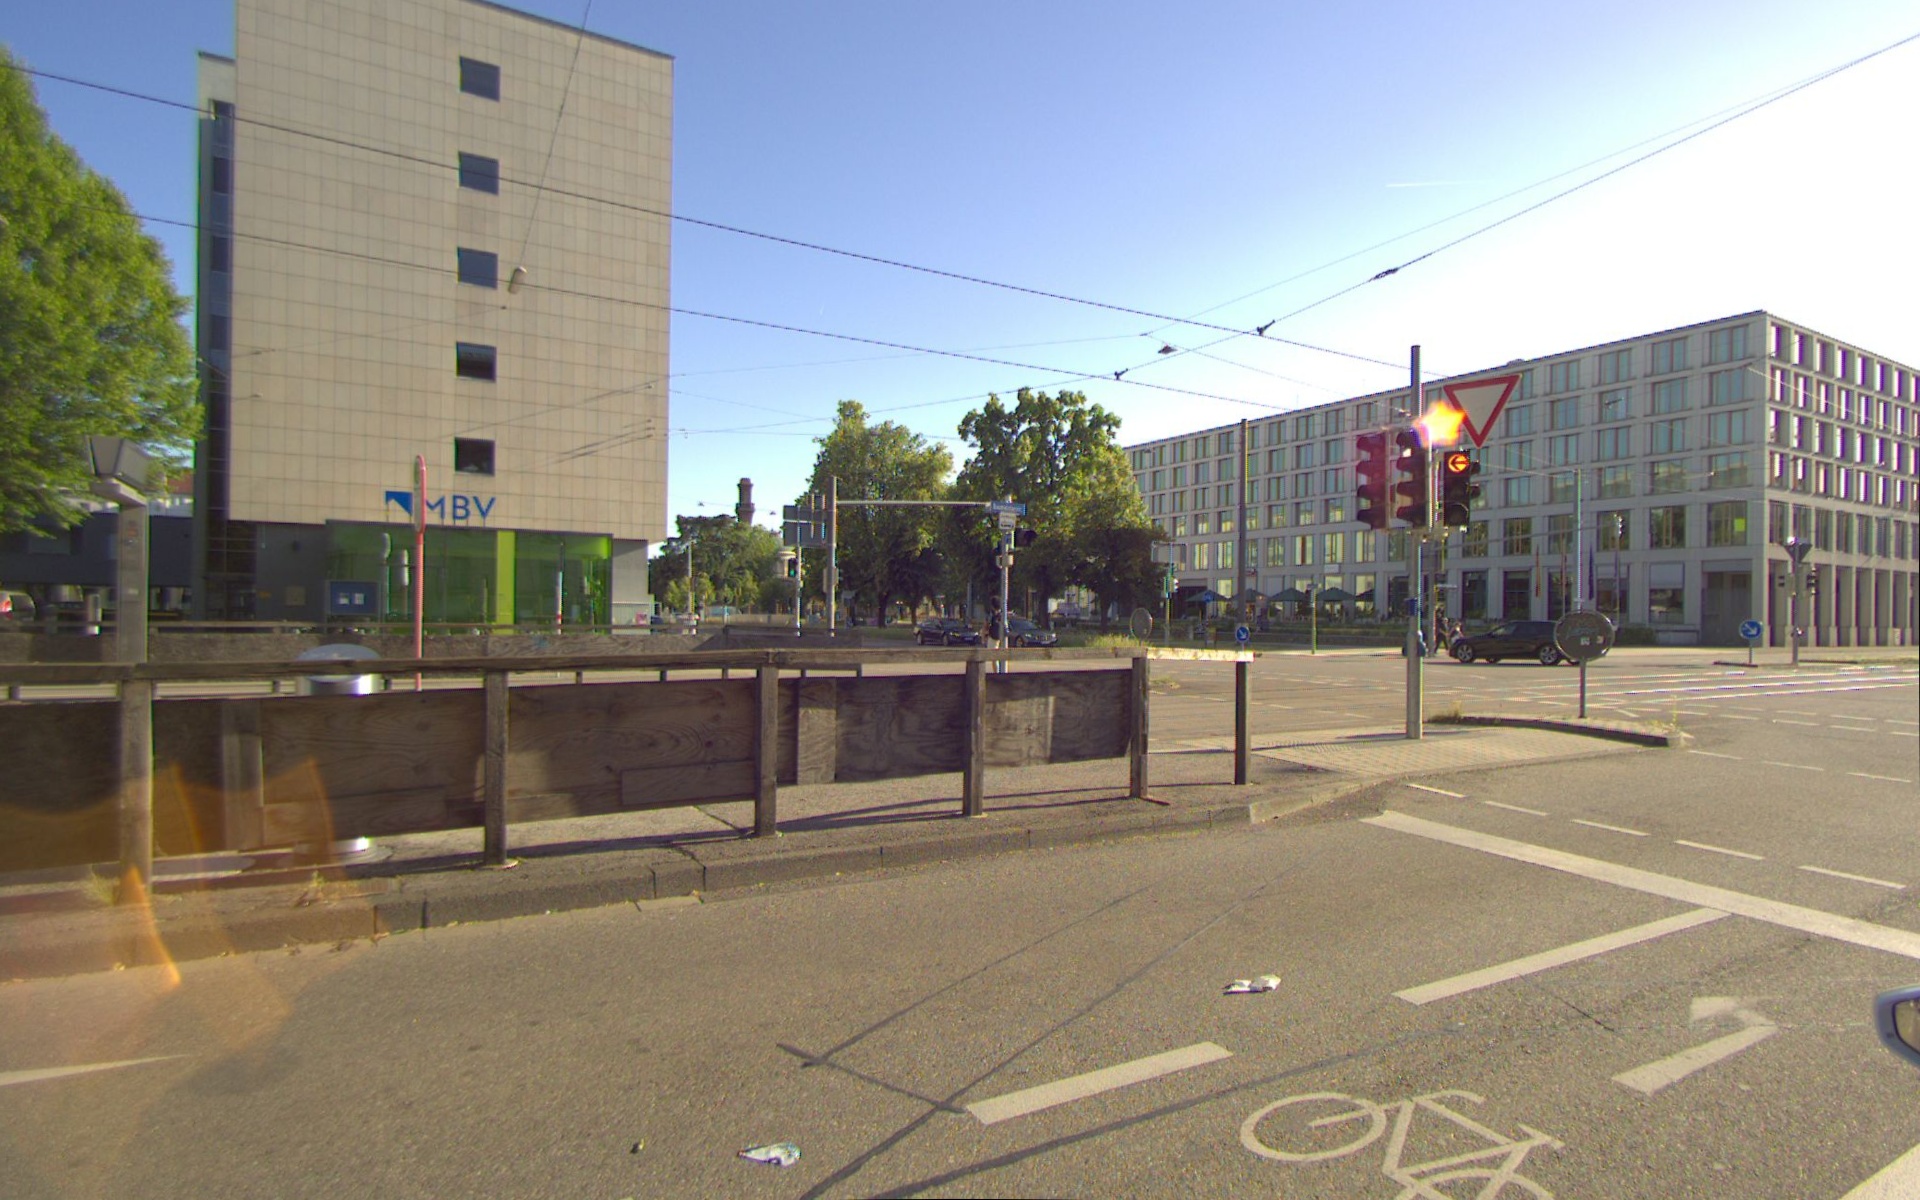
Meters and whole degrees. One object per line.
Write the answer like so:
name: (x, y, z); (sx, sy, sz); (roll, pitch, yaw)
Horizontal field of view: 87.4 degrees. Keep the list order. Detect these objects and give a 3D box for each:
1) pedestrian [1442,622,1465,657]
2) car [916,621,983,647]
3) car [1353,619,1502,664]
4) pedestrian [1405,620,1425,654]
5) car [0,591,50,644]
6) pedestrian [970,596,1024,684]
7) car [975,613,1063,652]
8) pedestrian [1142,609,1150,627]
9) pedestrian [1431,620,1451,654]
pedestrian: (24.066, 1.912, 48.999); (0.615, 1.666, 0.787); (1, -1, -34)
car: (-0.608, 1.787, 53.706); (1.755, 1.311, 4.209); (1, -1, -30)
car: (17.342, 1.525, 37.480); (1.978, 1.433, 4.710); (4, -2, -31)
pedestrian: (22.909, 1.864, 50.561); (0.612, 1.666, 0.692); (1, -1, -23)
car: (-27.729, 0.451, 27.792); (3.371, 1.431, 1.562); (2, 0, -20)
pedestrian: (0.745, 0.803, 20.353); (0.818, 1.739, 0.754); (1, -1, -31)
car: (2.763, 1.521, 47.791); (1.833, 1.602, 4.486); (1, 1, -34)
pedestrian: (17.506, 1.682, 94.529); (0.556, 1.691, 0.537); (2, 0, -33)
pedestrian: (24.165, 1.850, 50.435); (0.615, 1.666, 0.690); (1, -1, -34)
